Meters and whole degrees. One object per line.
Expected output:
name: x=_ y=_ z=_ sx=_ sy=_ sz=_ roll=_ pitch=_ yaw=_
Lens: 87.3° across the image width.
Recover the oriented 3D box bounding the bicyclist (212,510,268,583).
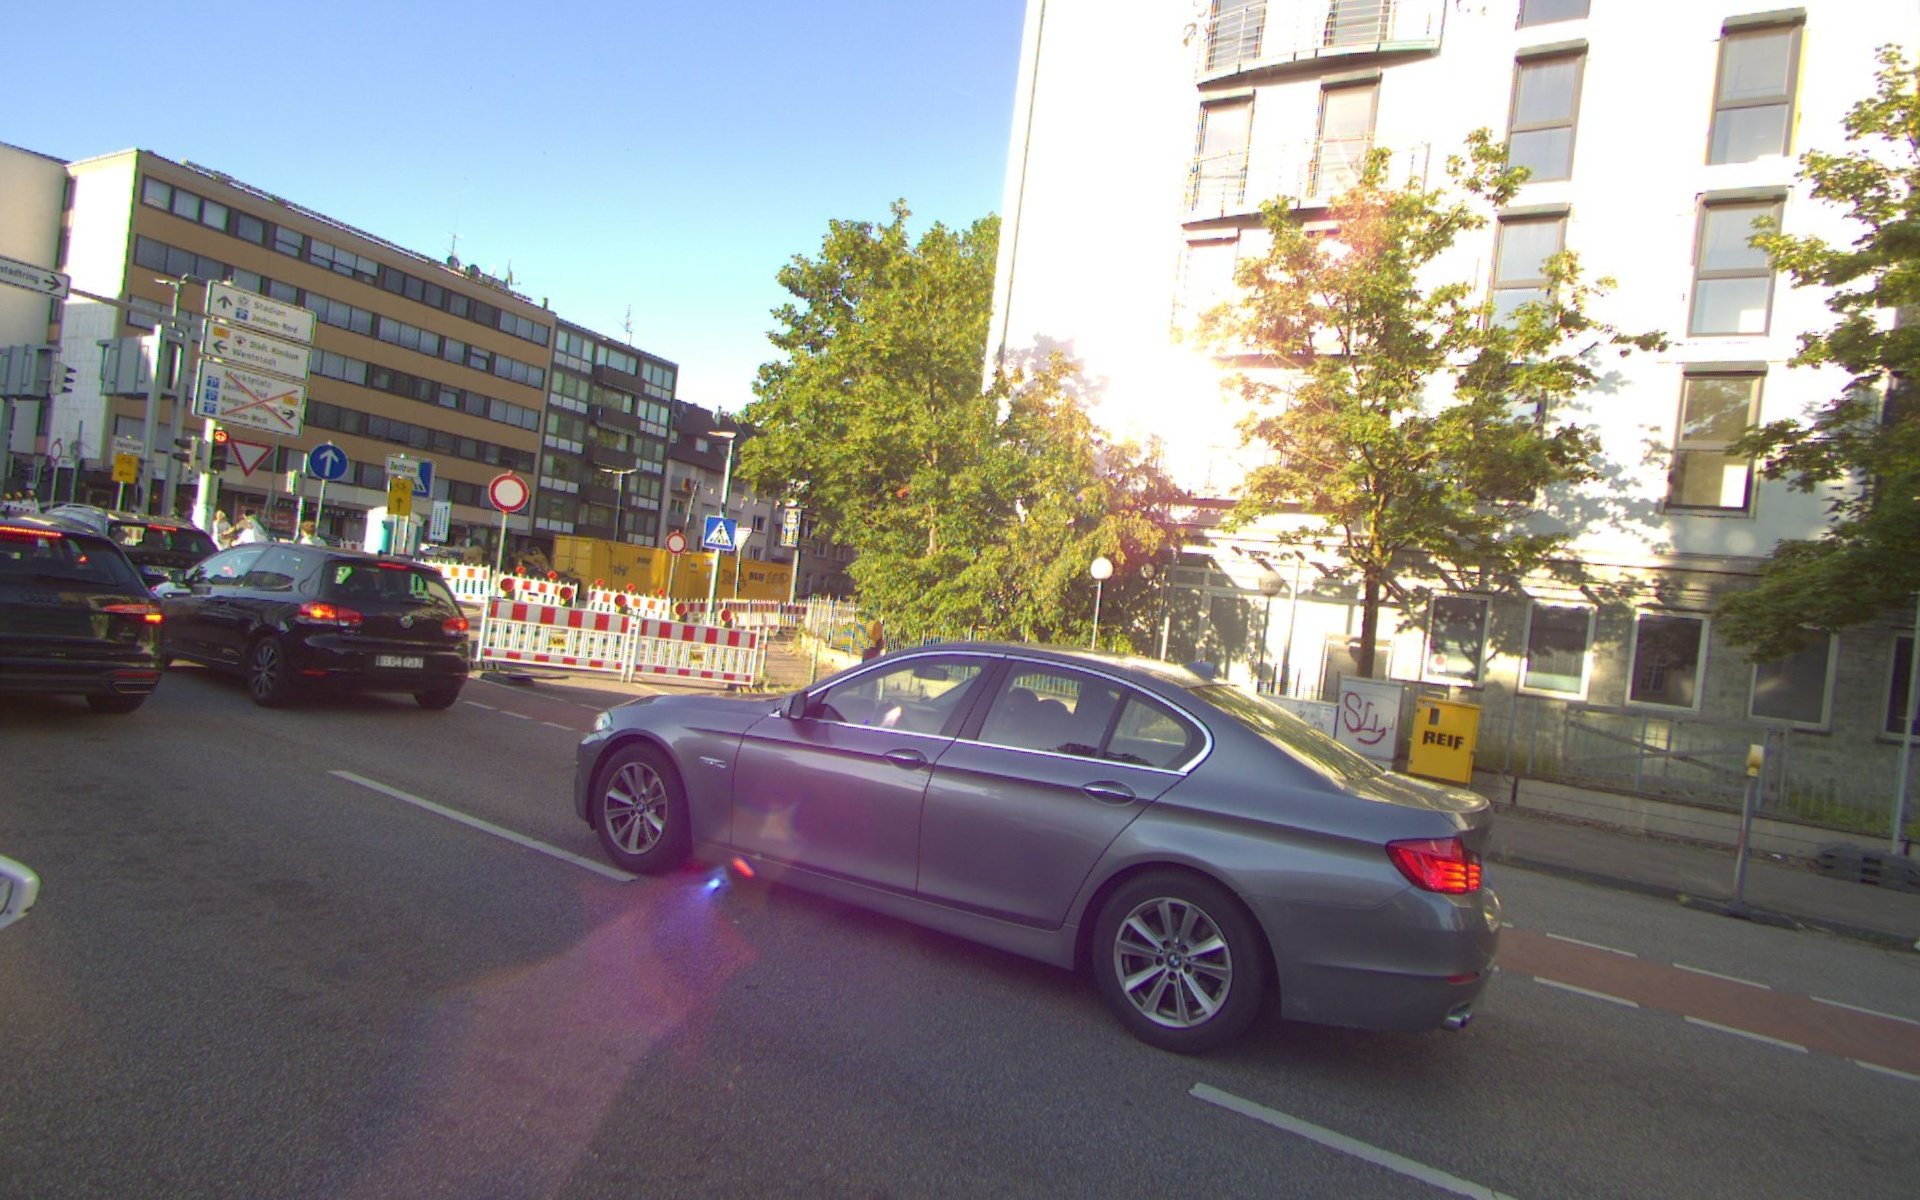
bicyclist: x=-17.343 y=-1.286 z=24.238 sx=0.800 sy=1.608 sz=0.619 roll=8 pitch=0 yaw=27

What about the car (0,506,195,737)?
car: x=-7.677 y=-0.049 z=7.478 sx=4.144 sy=1.437 sz=1.685 roll=7 pitch=-2 yaw=32

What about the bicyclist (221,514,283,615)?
bicyclist: x=-11.494 y=-0.572 z=16.326 sx=0.713 sy=1.544 sz=0.441 roll=7 pitch=0 yaw=32

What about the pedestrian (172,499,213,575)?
pedestrian: x=-19.959 y=-1.634 z=26.147 sx=0.479 sy=1.857 sz=0.570 roll=7 pitch=0 yaw=34

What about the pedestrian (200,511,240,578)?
pedestrian: x=-19.759 y=-1.473 z=26.857 sx=0.447 sy=1.691 sz=0.602 roll=7 pitch=0 yaw=33

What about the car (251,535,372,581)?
car: x=-28.108 y=-1.803 z=43.702 sx=1.654 sy=1.435 sz=3.992 roll=7 pitch=-1 yaw=32

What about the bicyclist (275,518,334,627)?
bicyclist: x=-9.802 y=-0.407 z=15.037 sx=0.474 sy=1.544 sz=0.441 roll=7 pitch=0 yaw=31

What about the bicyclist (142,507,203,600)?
bicyclist: x=-13.950 y=-0.827 z=17.824 sx=0.713 sy=1.544 sz=0.514 roll=7 pitch=0 yaw=32

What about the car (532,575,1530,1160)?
car: x=0.180 y=0.910 z=5.141 sx=4.587 sy=1.466 sz=1.819 roll=7 pitch=-1 yaw=29

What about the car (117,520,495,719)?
car: x=-6.614 y=0.170 z=10.096 sx=3.683 sy=1.466 sz=1.637 roll=7 pitch=-2 yaw=32

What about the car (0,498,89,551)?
car: x=-35.741 y=-2.956 z=37.791 sx=1.764 sy=1.613 sz=4.128 roll=6 pitch=-1 yaw=27

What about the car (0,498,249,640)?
car: x=-11.122 y=-0.422 z=13.348 sx=3.250 sy=1.467 sz=1.507 roll=7 pitch=0 yaw=32

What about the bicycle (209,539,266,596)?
bicycle: x=-17.375 y=-0.793 z=24.189 sx=1.474 sy=1.175 sz=0.373 roll=8 pitch=-1 yaw=28

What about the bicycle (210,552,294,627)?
bicycle: x=-11.475 y=-0.177 z=16.281 sx=1.825 sy=1.020 sz=0.337 roll=7 pitch=0 yaw=32
